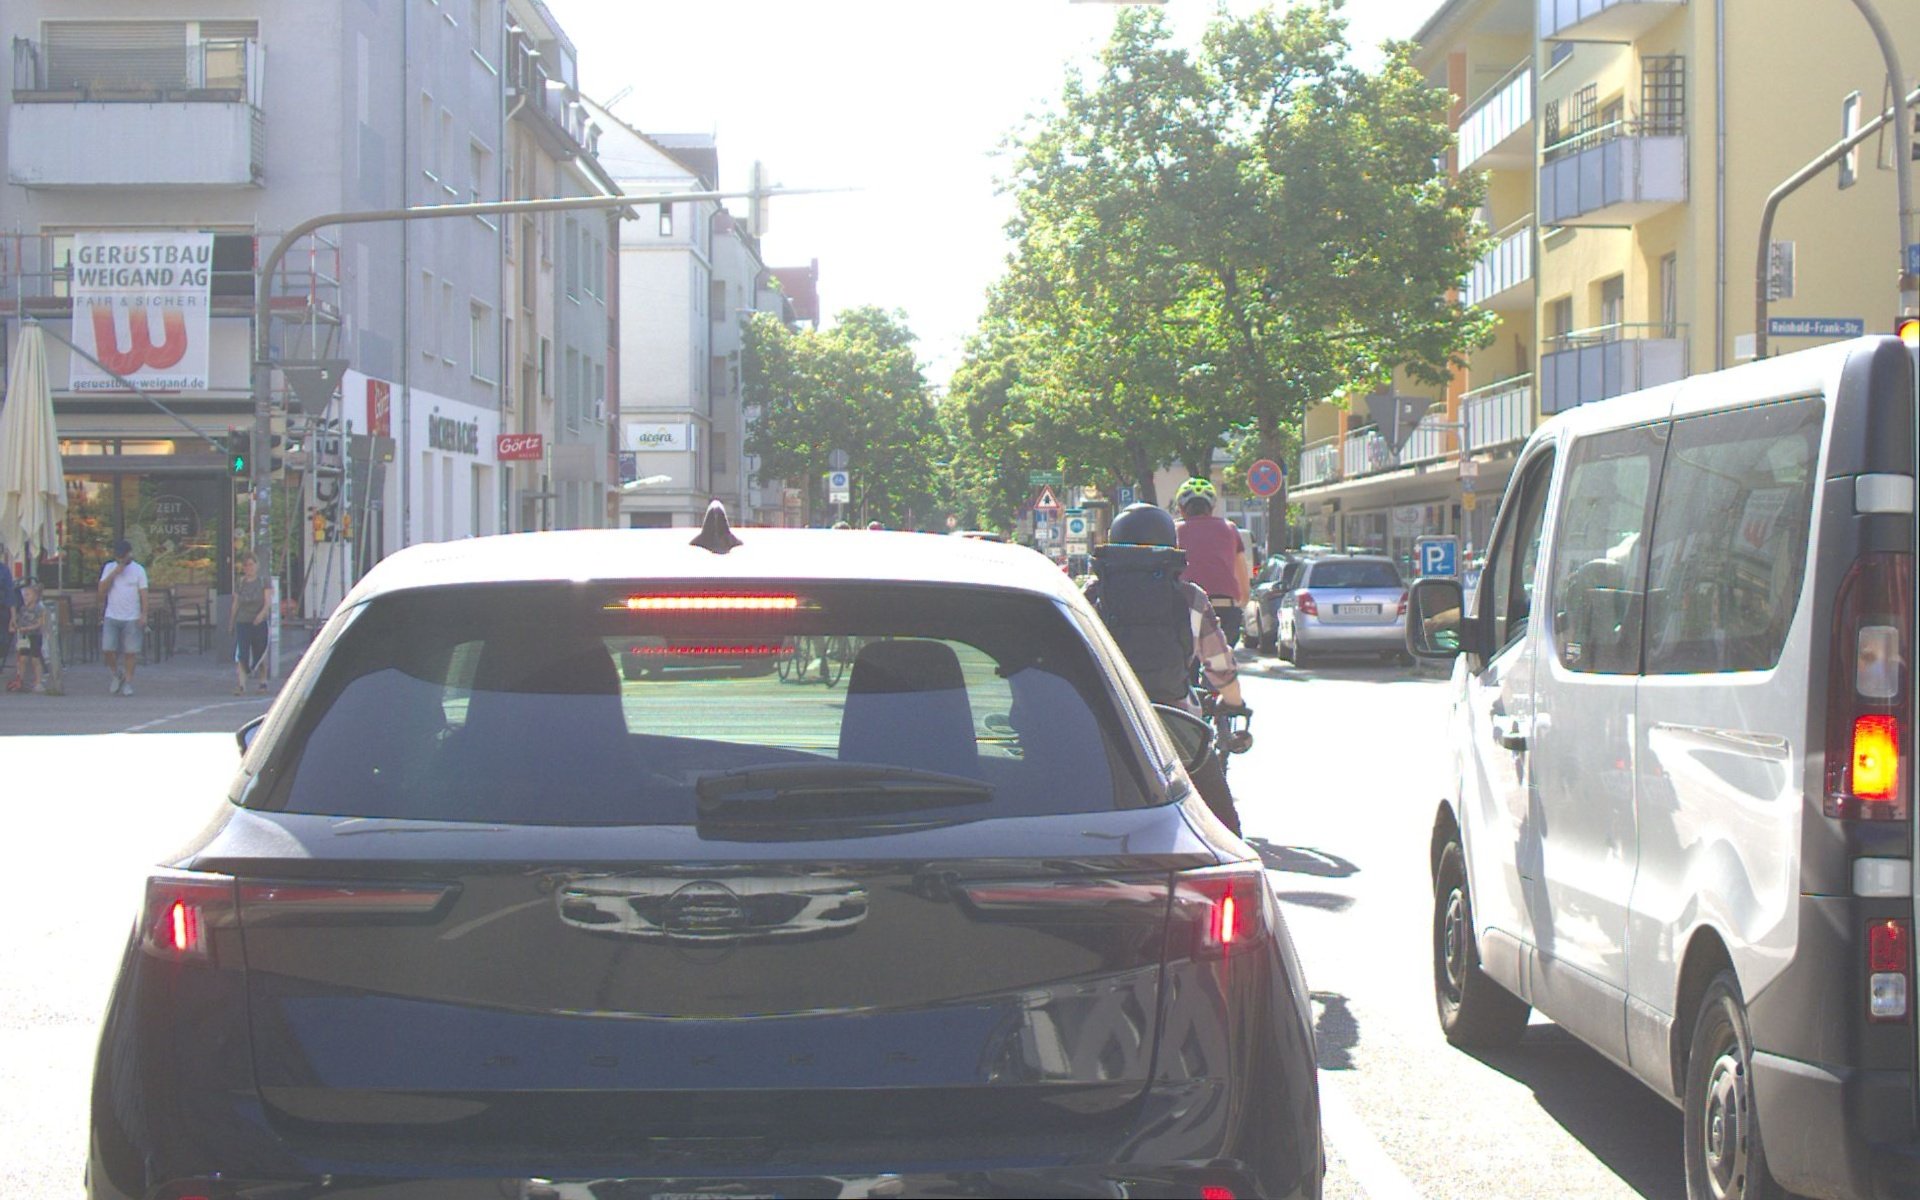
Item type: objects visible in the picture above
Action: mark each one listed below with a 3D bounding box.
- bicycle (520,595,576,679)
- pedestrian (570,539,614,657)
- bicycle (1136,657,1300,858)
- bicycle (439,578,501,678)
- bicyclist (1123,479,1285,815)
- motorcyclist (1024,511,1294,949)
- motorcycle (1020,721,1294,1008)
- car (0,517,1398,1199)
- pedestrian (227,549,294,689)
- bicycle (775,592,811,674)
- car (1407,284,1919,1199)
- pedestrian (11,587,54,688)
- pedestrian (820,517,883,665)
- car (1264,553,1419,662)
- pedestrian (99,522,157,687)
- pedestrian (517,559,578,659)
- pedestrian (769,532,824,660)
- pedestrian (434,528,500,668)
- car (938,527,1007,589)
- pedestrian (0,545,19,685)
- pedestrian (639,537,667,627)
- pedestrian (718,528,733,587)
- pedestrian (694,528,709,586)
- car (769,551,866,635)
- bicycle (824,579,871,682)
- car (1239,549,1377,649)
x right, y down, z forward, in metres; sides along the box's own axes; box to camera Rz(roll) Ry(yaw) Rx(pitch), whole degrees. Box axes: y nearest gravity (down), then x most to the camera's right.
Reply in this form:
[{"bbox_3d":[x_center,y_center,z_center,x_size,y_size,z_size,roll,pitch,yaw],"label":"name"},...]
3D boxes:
[{"bbox_3d":[-5.178,0.456,43.254,0.521,0.989,2.340,0,1,-2],"label":"bicycle"},{"bbox_3d":[-5.310,-0.037,49.604,0.570,1.684,0.588,0,1,-1],"label":"pedestrian"},{"bbox_3d":[1.310,0.782,17.810,0.577,0.901,2.301,0,1,-2],"label":"bicycle"},{"bbox_3d":[-5.895,0.321,41.438,0.521,1.143,2.284,0,1,-2],"label":"bicycle"},{"bbox_3d":[1.273,0.228,18.155,0.689,1.707,1.414,0,1,-2],"label":"bicyclist"},{"bbox_3d":[0.691,0.435,12.336,0.864,1.497,1.160,0,1,-2],"label":"motorcyclist"},{"bbox_3d":[0.661,0.898,12.187,0.825,0.842,1.885,0,1,-1],"label":"motorcycle"},{"bbox_3d":[-0.415,0.625,6.336,1.770,1.525,4.001,0,1,-2],"label":"car"},{"bbox_3d":[-7.674,0.200,37.738,0.617,1.516,0.725,0,1,-3],"label":"pedestrian"},{"bbox_3d":[-2.112,0.409,43.673,0.443,0.989,2.069,0,1,-2],"label":"bicycle"},{"bbox_3d":[2.463,0.425,8.424,1.993,1.972,4.895,2,1,0],"label":"car"},{"bbox_3d":[-10.117,0.404,37.505,0.355,1.088,0.462,0,1,-3],"label":"pedestrian"},{"bbox_3d":[-1.257,-0.105,39.733,0.706,1.695,0.802,0,1,-2],"label":"pedestrian"},{"bbox_3d":[5.199,0.071,47.254,1.634,1.428,3.957,0,1,-1],"label":"car"},{"bbox_3d":[-8.988,0.045,37.151,0.561,1.769,0.584,0,1,-9],"label":"pedestrian"},{"bbox_3d":[-5.189,0.107,43.296,0.706,1.249,0.802,0,1,-2],"label":"pedestrian"},{"bbox_3d":[-2.057,-0.057,43.379,0.680,1.600,0.762,0,1,-2],"label":"pedestrian"},{"bbox_3d":[-5.932,-0.030,41.371,0.706,1.672,0.802,0,1,-2],"label":"pedestrian"},{"bbox_3d":[0.358,-1.203,97.248,1.902,1.722,4.073,0,1,1],"label":"car"},{"bbox_3d":[-10.612,0.154,37.434,0.584,1.516,0.650,0,1,-3],"label":"pedestrian"},{"bbox_3d":[-5.805,-0.343,65.064,0.488,1.684,0.588,0,1,-1],"label":"pedestrian"},{"bbox_3d":[-6.757,-1.224,98.971,0.402,1.669,0.418,0,1,-1],"label":"pedestrian"},{"bbox_3d":[-7.457,-1.231,99.009,0.402,1.669,0.418,0,1,-1],"label":"pedestrian"},{"bbox_3d":[-2.986,-0.176,72.958,1.825,1.722,4.000,0,1,1],"label":"car"},{"bbox_3d":[-1.309,0.338,39.830,0.521,1.143,2.170,0,1,-2],"label":"bicycle"},{"bbox_3d":[5.212,-0.042,51.934,1.634,1.428,4.000,0,1,-1],"label":"car"}]
